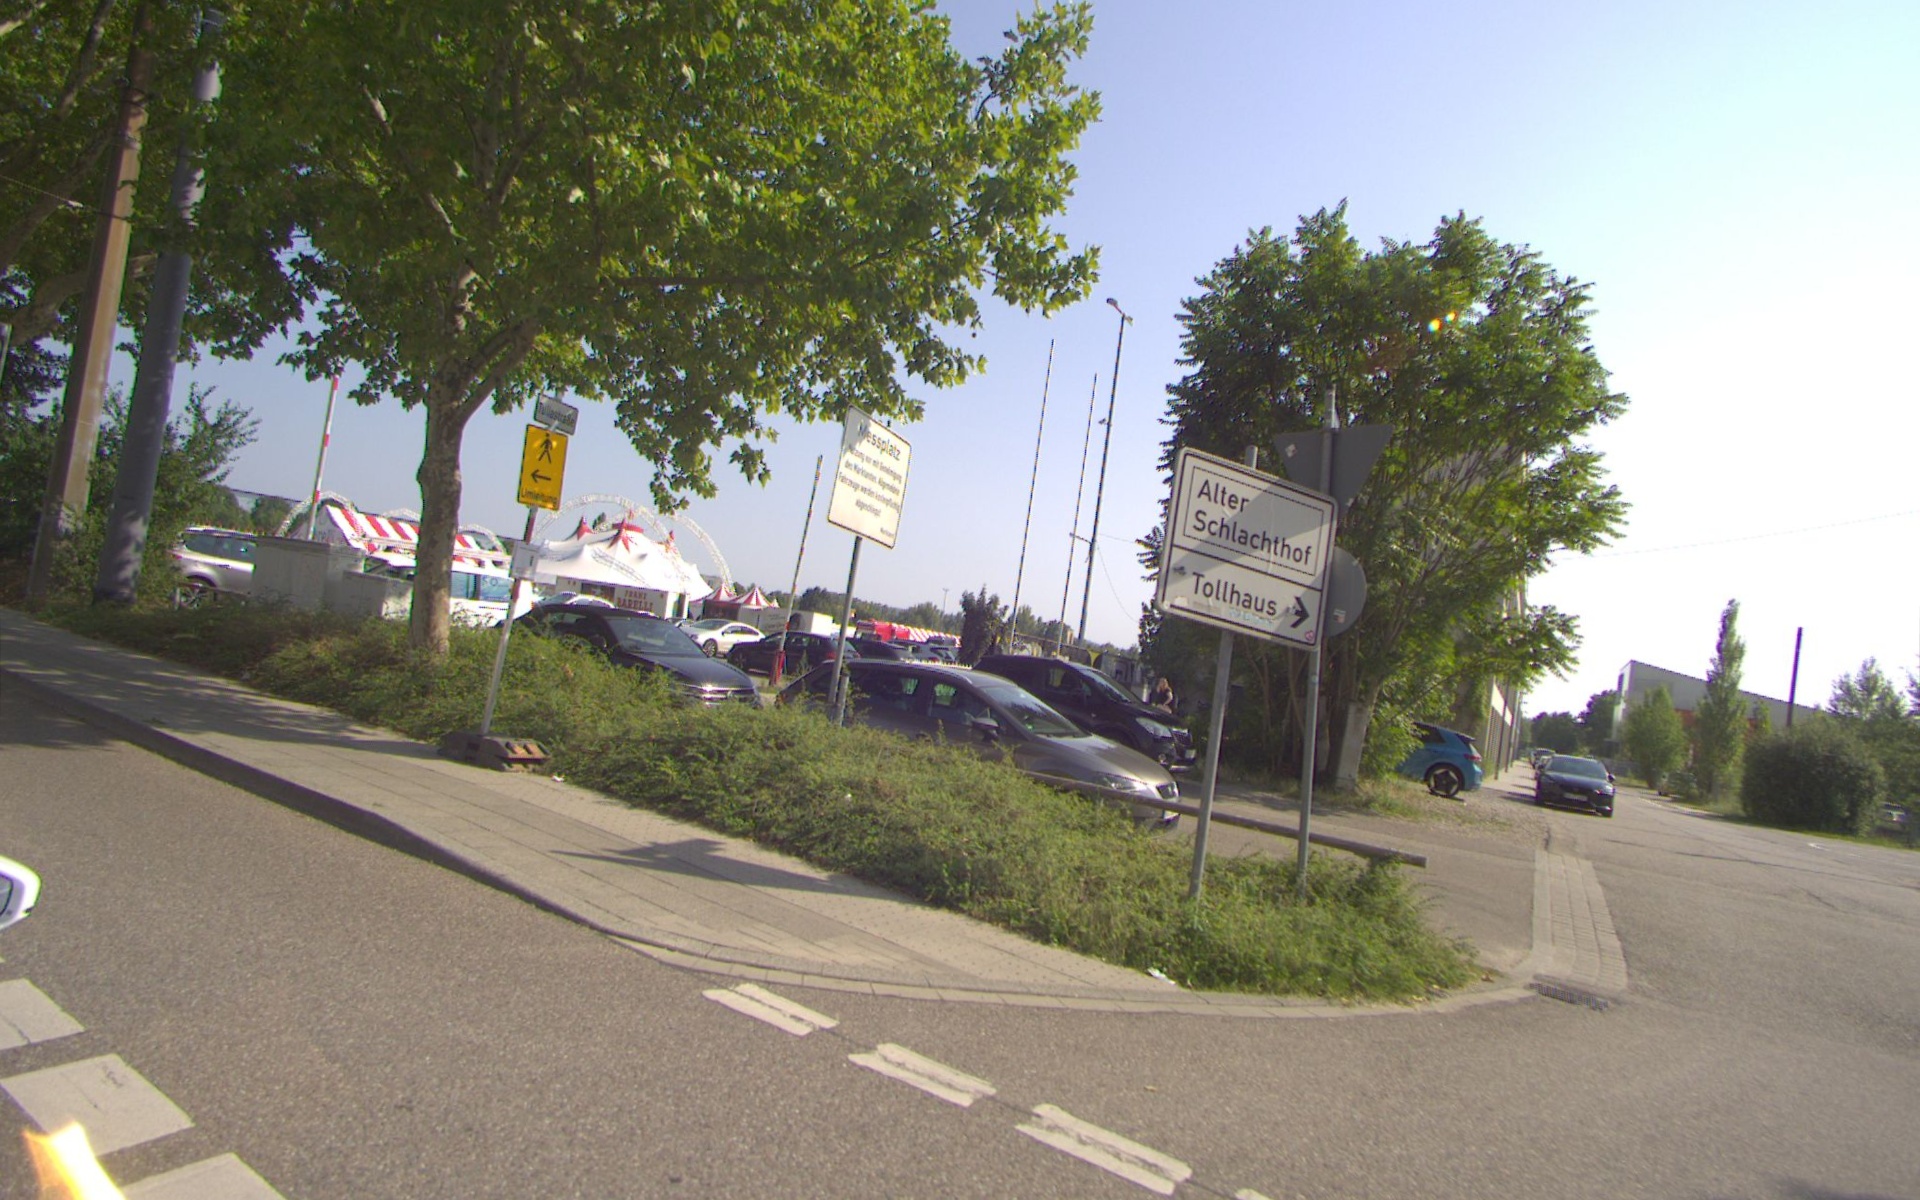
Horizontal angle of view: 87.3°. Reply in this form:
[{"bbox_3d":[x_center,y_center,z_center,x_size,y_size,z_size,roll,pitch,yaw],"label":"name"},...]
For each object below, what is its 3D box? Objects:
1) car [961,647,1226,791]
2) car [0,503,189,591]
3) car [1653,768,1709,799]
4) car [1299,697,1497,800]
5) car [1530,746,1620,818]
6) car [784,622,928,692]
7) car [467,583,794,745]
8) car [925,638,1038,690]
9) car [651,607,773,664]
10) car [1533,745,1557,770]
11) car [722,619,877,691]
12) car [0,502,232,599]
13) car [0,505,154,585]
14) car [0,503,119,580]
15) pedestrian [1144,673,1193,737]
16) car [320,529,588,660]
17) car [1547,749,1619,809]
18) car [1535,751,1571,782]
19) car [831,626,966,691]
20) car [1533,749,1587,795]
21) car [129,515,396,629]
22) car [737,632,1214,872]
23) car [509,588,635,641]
[{"bbox_3d":[2.112,1.843,16.151,3.733,1.593,1.611,7,-2,31],"label":"car"},{"bbox_3d":[-23.242,-1.397,26.553,1.966,1.603,4.000,7,-3,30],"label":"car"},{"bbox_3d":[51.370,13.092,71.635,3.966,1.737,1.981,9,-2,-36],"label":"car"},{"bbox_3d":[10.045,3.383,23.253,3.886,1.592,1.711,8,-3,25],"label":"car"},{"bbox_3d":[16.596,4.869,27.289,1.717,1.500,3.798,7,-4,29],"label":"car"},{"bbox_3d":[-3.257,1.771,31.353,4.047,1.509,1.819,7,-3,30],"label":"car"},{"bbox_3d":[-4.392,0.804,13.249,4.048,1.465,1.732,7,-2,31],"label":"car"},{"bbox_3d":[0.838,2.550,40.149,3.934,1.570,1.997,6,-1,32],"label":"car"},{"bbox_3d":[-9.041,1.318,36.981,1.916,1.479,3.996,6,-4,34],"label":"car"},{"bbox_3d":[55.443,14.939,95.344,1.677,2.071,3.797,7,-4,30],"label":"car"},{"bbox_3d":[-4.625,1.563,28.899,4.047,1.411,1.819,7,-3,30],"label":"car"},{"bbox_3d":[-21.098,-1.184,25.248,1.966,1.603,4.000,7,-3,30],"label":"car"},{"bbox_3d":[-25.137,-1.587,27.723,1.966,1.603,4.000,7,-3,30],"label":"car"},{"bbox_3d":[-27.142,-1.835,28.895,1.966,1.742,4.000,7,-3,30],"label":"car"},{"bbox_3d":[5.826,2.930,28.099,0.921,1.661,0.697,8,-2,-27],"label":"pedestrian"},{"bbox_3d":[-9.638,-0.029,19.479,1.818,1.940,4.109,7,-2,33],"label":"car"},{"bbox_3d":[19.580,5.618,31.754,1.678,1.460,3.796,7,-4,31],"label":"car"},{"bbox_3d":[35.197,9.867,59.746,1.678,1.460,3.796,7,-4,31],"label":"car"},{"bbox_3d":[-2.068,1.943,33.801,4.047,1.509,1.819,7,-3,30],"label":"car"},{"bbox_3d":[24.456,6.996,41.044,1.678,1.460,3.796,7,-4,31],"label":"car"},{"bbox_3d":[-14.420,-0.521,21.043,1.966,1.603,4.000,7,-3,30],"label":"car"},{"bbox_3d":[0.063,1.388,10.276,4.474,1.465,1.732,7,-2,31],"label":"car"},{"bbox_3d":[-15.840,0.633,41.322,1.916,1.479,4.401,6,-4,34],"label":"car"}]
